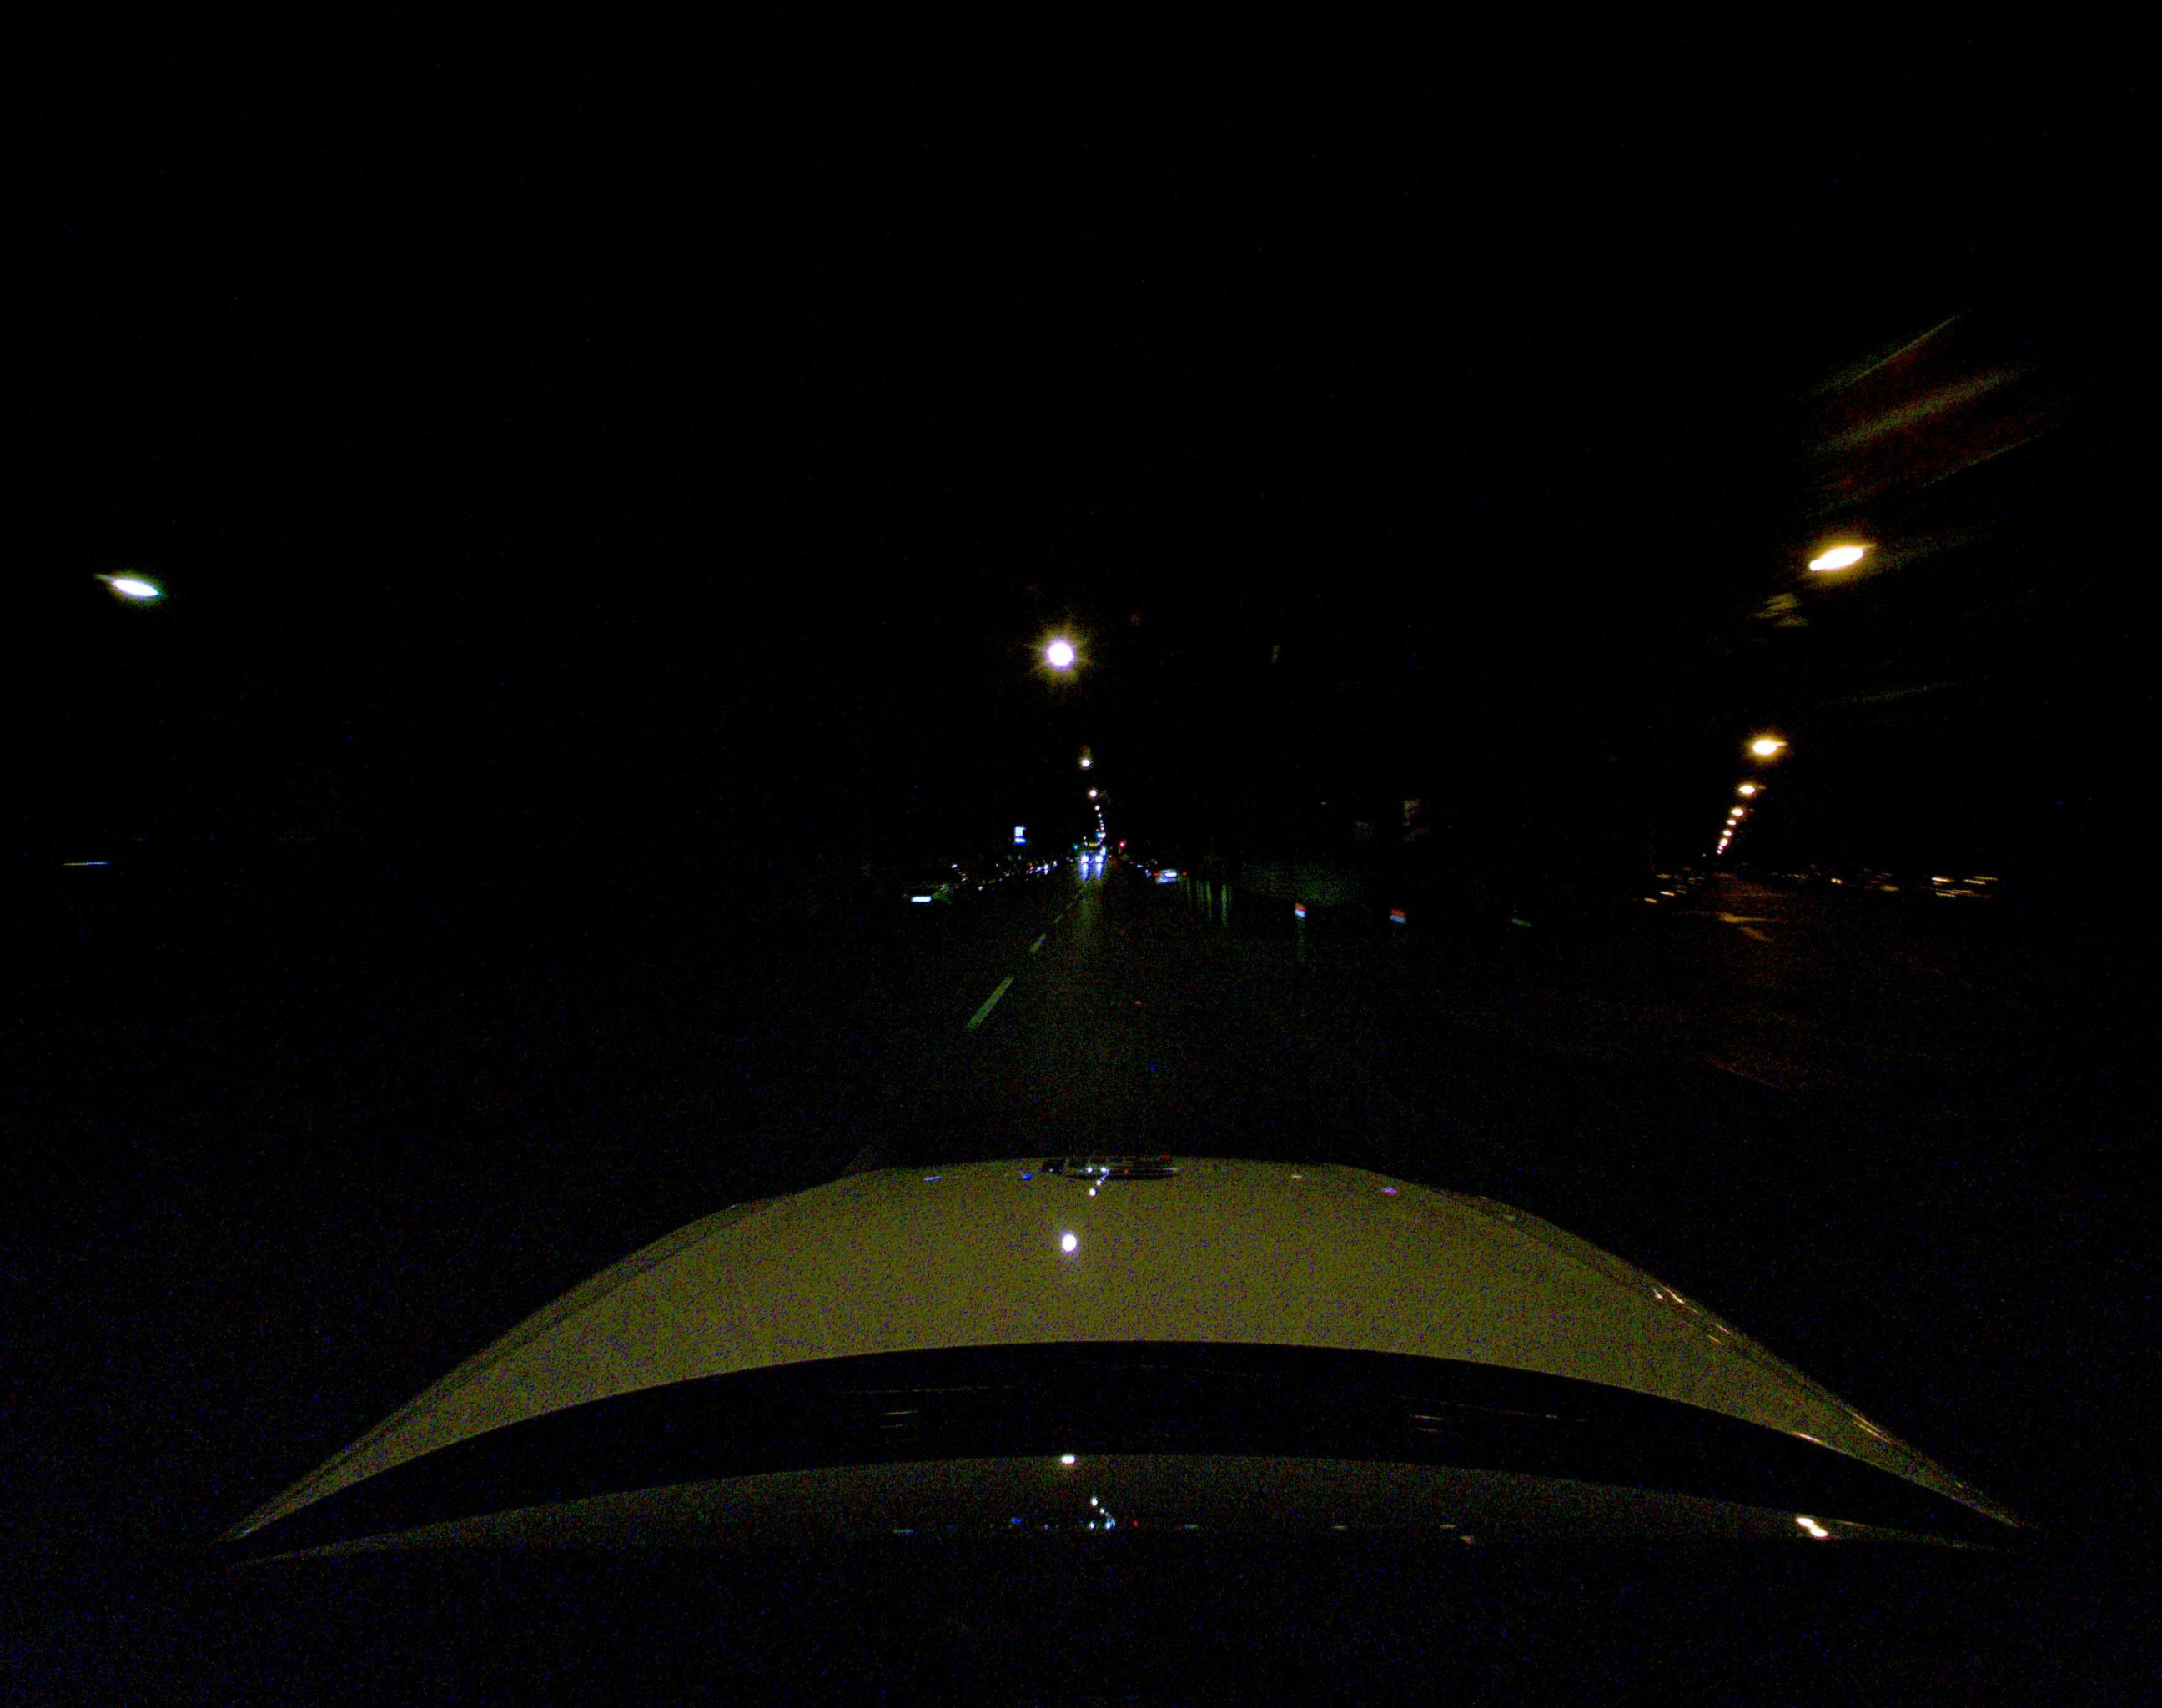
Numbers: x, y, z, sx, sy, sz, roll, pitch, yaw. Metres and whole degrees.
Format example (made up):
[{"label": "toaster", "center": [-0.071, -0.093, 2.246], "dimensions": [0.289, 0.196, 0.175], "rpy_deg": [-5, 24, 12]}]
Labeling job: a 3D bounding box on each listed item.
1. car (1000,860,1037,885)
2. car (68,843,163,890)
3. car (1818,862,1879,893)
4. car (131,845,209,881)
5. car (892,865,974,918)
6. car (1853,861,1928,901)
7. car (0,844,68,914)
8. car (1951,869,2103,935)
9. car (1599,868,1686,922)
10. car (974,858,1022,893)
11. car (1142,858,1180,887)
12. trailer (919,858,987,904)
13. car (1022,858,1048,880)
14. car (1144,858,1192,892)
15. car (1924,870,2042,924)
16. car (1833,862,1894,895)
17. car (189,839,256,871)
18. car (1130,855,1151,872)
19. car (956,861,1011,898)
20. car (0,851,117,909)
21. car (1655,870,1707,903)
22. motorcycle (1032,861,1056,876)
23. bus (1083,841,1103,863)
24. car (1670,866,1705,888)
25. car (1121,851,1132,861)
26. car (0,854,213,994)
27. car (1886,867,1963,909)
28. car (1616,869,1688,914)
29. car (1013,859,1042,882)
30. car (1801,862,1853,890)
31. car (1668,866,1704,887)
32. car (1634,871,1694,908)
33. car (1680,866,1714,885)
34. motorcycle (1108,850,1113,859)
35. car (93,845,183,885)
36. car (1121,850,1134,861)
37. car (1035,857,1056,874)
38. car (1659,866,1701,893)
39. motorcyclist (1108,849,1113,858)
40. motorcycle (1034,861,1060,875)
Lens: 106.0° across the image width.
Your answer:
[{"label": "car", "center": [-3.792, 1.090, 50.280], "dimensions": [1.857, 1.491, 4.281], "rpy_deg": [0, -1, 1]}, {"label": "car", "center": [-34.428, 0.401, 29.140], "dimensions": [1.778, 1.481, 3.666], "rpy_deg": [0, 2, -43]}, {"label": "car", "center": [45.910, 1.382, 48.800], "dimensions": [1.974, 1.763, 4.025], "rpy_deg": [0, -1, 33]}, {"label": "car", "center": [-40.215, 0.351, 36.030], "dimensions": [1.777, 1.481, 3.668], "rpy_deg": [0, 1, -40]}, {"label": "car", "center": [-4.650, 1.126, 26.211], "dimensions": [1.808, 1.484, 4.347], "rpy_deg": [-1, 0, 0]}, {"label": "car", "center": [36.806, 1.185, 37.139], "dimensions": [1.974, 1.704, 4.056], "rpy_deg": [0, -1, 39]}, {"label": "car", "center": [-25.679, 0.565, 19.073], "dimensions": [1.739, 1.560, 3.343], "rpy_deg": [1, -1, -39]}, {"label": "car", "center": [23.189, 1.099, 20.132], "dimensions": [1.779, 1.417, 3.861], "rpy_deg": [0, -1, 39]}, {"label": "car", "center": [16.536, 1.135, 23.910], "dimensions": [1.779, 1.417, 3.861], "rpy_deg": [0, -1, 39]}, {"label": "car", "center": [-4.207, 1.058, 41.831], "dimensions": [1.828, 1.619, 4.547], "rpy_deg": [0, 0, 2]}, {"label": "car", "center": [4.358, 0.970, 44.883], "dimensions": [1.764, 1.448, 4.020], "rpy_deg": [-2, 0, 1]}, {"label": "trailer", "center": [-4.760, 0.984, 30.698], "dimensions": [1.629, 1.639, 3.445], "rpy_deg": [0, -1, 6]}, {"label": "car", "center": [-3.505, 1.100, 62.704], "dimensions": [1.698, 1.491, 4.229], "rpy_deg": [-2, 0, 1]}, {"label": "car", "center": [4.133, 0.971, 39.299], "dimensions": [1.838, 1.417, 4.646], "rpy_deg": [-4, -1, 1]}, {"label": "car", "center": [26.616, 1.216, 24.167], "dimensions": [1.779, 1.417, 3.861], "rpy_deg": [0, -1, 39]}, {"label": "car", "center": [42.296, 1.293, 44.098], "dimensions": [1.974, 1.704, 4.020], "rpy_deg": [0, -1, 39]}, {"label": "car", "center": [-45.784, 0.068, 43.522], "dimensions": [1.821, 1.635, 3.584], "rpy_deg": [0, -1, -36]}, {"label": "car", "center": [5.639, 0.908, 77.760], "dimensions": [1.756, 1.476, 4.083], "rpy_deg": [-2, 1, 2]}, {"label": "car", "center": [-4.298, 1.094, 36.658], "dimensions": [1.829, 1.446, 4.545], "rpy_deg": [-1, 0, 1]}, {"label": "car", "center": [-28.298, 0.658, 22.426], "dimensions": [1.579, 1.451, 3.404], "rpy_deg": [0, 1, -38]}, {"label": "car", "center": [28.124, 1.489, 38.128], "dimensions": [1.752, 1.417, 3.944], "rpy_deg": [0, -1, 39]}, {"label": "motorcycle", "center": [-3.030, 1.172, 66.944], "dimensions": [0.719, 1.147, 2.183], "rpy_deg": [-2, 1, -41]}, {"label": "bus", "center": [1.928, -0.311, 123.536], "dimensions": [2.827, 3.177, 10.504], "rpy_deg": [0, 1, 2]}, {"label": "car", "center": [41.702, 1.570, 56.000], "dimensions": [1.752, 1.441, 3.944], "rpy_deg": [0, -1, 39]}, {"label": "car", "center": [7.808, 0.289, 139.928], "dimensions": [1.861, 1.526, 4.152], "rpy_deg": [-2, 1, 2]}, {"label": "car", "center": [-13.509, 0.764, 10.163], "dimensions": [3.961, 1.425, 1.767], "rpy_deg": [2, 0, 11]}, {"label": "car", "center": [33.884, 1.310, 32.800], "dimensions": [1.779, 1.579, 3.861], "rpy_deg": [-1, -1, 40]}, {"label": "car", "center": [20.086, 1.247, 28.575], "dimensions": [1.779, 1.417, 3.861], "rpy_deg": [0, -1, 39]}, {"label": "car", "center": [-3.583, 1.109, 54.963], "dimensions": [1.616, 1.491, 3.781], "rpy_deg": [0, -1, 1]}, {"label": "car", "center": [50.425, 1.430, 55.133], "dimensions": [1.974, 1.802, 4.025], "rpy_deg": [0, -1, 33]}, {"label": "car", "center": [44.768, 1.620, 60.193], "dimensions": [1.752, 1.441, 3.943], "rpy_deg": [-1, -1, 42]}, {"label": "car", "center": [23.634, 1.378, 32.959], "dimensions": [1.752, 1.341, 3.944], "rpy_deg": [0, -1, 39]}, {"label": "car", "center": [48.221, 1.669, 63.711], "dimensions": [1.752, 1.441, 3.943], "rpy_deg": [-1, -1, 42]}, {"label": "motorcycle", "center": [5.780, 0.127, 159.978], "dimensions": [0.927, 1.752, 2.626], "rpy_deg": [0, -1, 2]}, {"label": "car", "center": [-37.775, 0.393, 32.710], "dimensions": [1.777, 1.481, 3.668], "rpy_deg": [0, 1, -40]}, {"label": "car", "center": [7.189, 0.243, 126.591], "dimensions": [1.805, 1.594, 4.276], "rpy_deg": [-2, 1, 2]}, {"label": "car", "center": [-3.227, 1.030, 74.278], "dimensions": [1.631, 1.498, 2.767], "rpy_deg": [-1, -1, 3]}, {"label": "car", "center": [34.872, 1.440, 47.392], "dimensions": [1.752, 1.501, 3.944], "rpy_deg": [0, -1, 39]}, {"label": "motorcyclist", "center": [5.785, -0.086, 160.182], "dimensions": [0.845, 1.752, 0.806], "rpy_deg": [0, -1, 2]}, {"label": "motorcycle", "center": [-2.908, 1.168, 68.962], "dimensions": [2.180, 1.131, 0.720], "rpy_deg": [-1, 1, 35]}]
